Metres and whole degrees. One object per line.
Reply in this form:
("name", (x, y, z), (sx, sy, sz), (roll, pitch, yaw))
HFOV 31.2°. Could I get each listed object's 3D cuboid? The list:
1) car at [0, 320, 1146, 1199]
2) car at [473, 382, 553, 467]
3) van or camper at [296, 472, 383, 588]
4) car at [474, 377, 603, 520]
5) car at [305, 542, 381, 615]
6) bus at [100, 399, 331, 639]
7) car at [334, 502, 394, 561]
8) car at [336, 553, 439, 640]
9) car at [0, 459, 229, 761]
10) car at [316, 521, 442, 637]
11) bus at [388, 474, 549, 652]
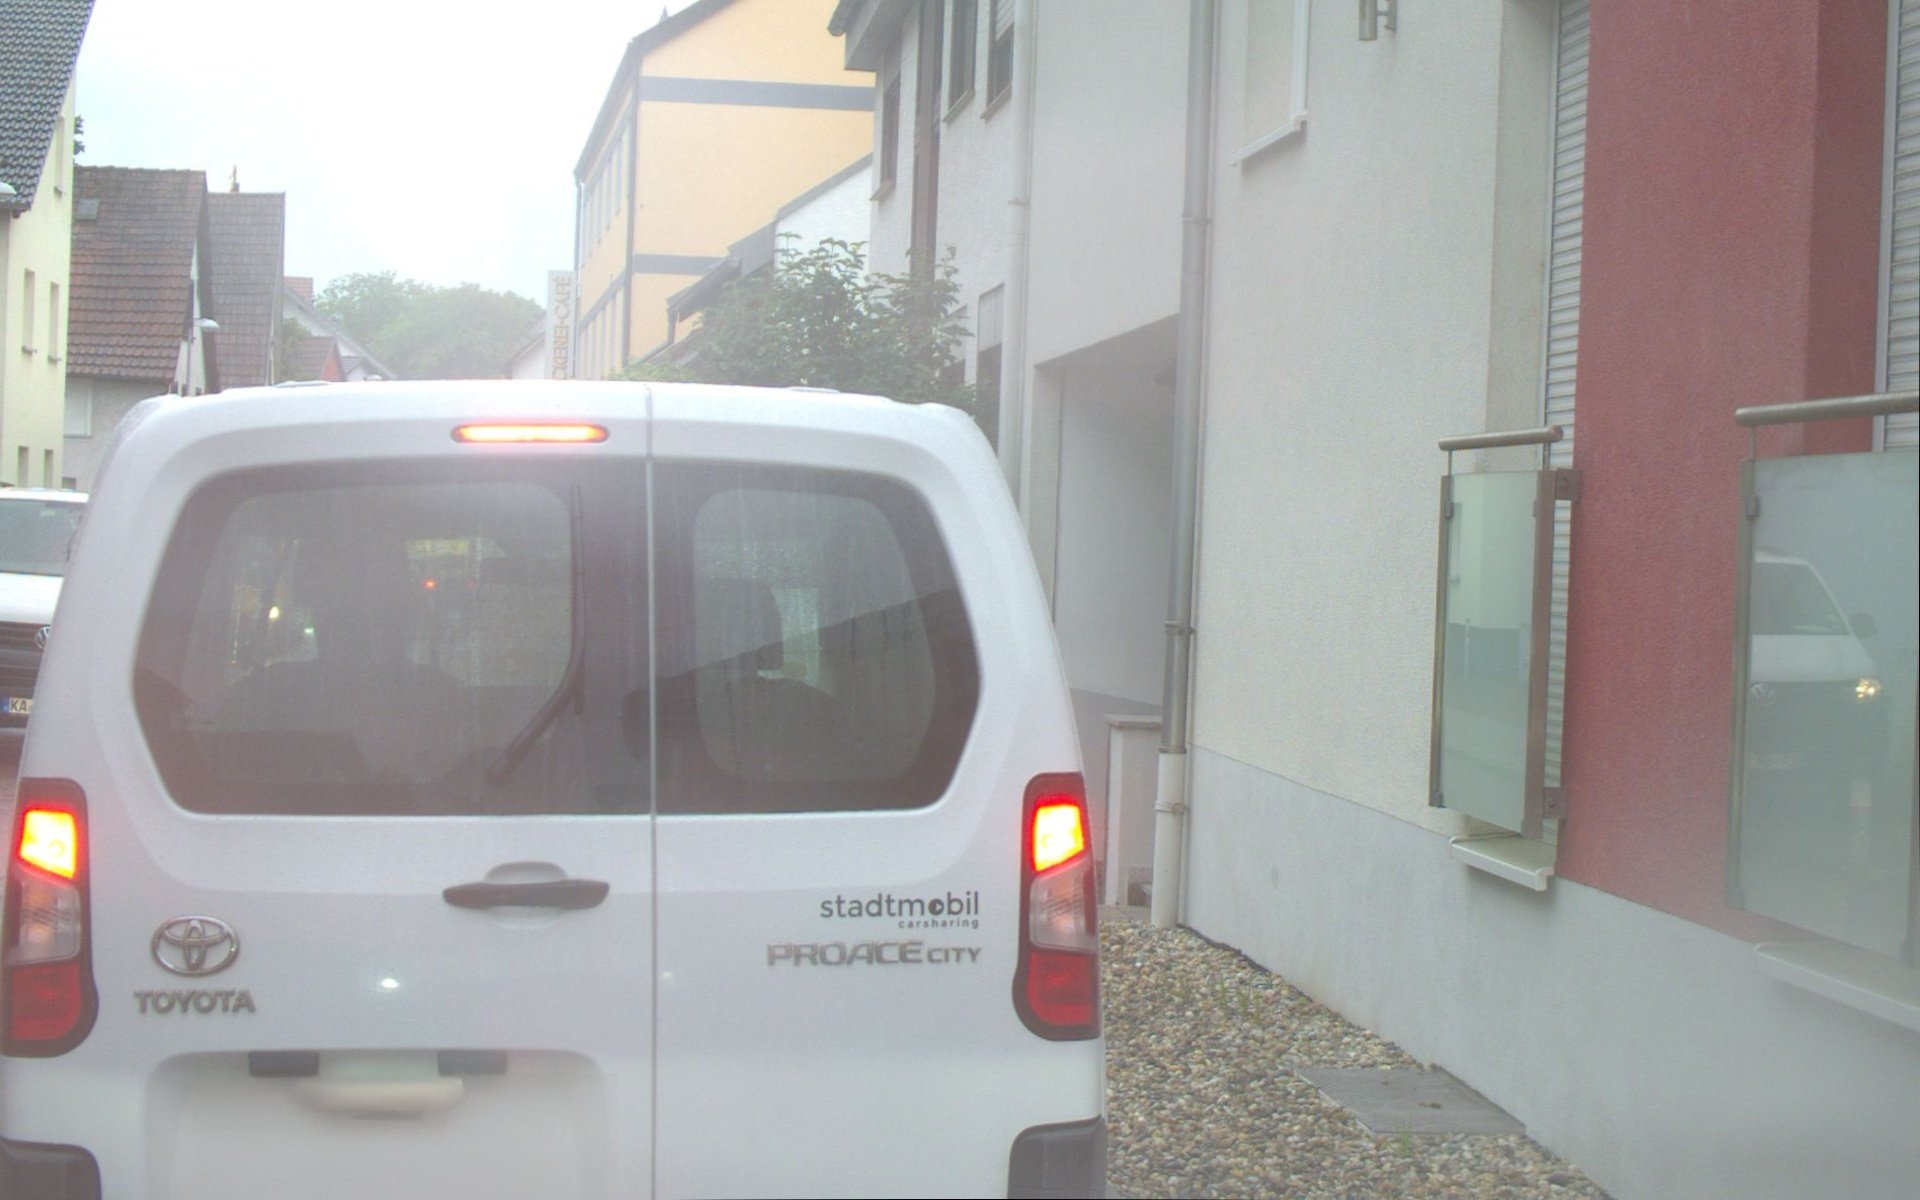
("car", (-0.923, 0.503, 6.986), (1.794, 1.812, 4.102), (1, 0, -8))
("car", (-12.089, -4.723, 93.115), (1.993, 2.007, 4.001), (3, 0, -7))
("van or camper", (-16.660, -1.842, 92.489), (1.835, 2.915, 5.364), (3, 0, -7))
("car", (-6.690, -2.350, 54.297), (1.826, 2.007, 3.695), (3, 0, -8))
("car", (-15.600, -0.531, 87.058), (1.578, 1.718, 3.551), (3, 0, -7))
("bus", (-11.649, -1.207, 54.460), (2.792, 3.317, 8.180), (4, 0, -8))
("car", (-18.843, -2.159, 108.817), (1.578, 1.718, 3.551), (3, 0, -7))
("car", (-9.870, -0.064, 59.403), (1.561, 1.367, 3.586), (3, 0, -8))
("car", (-6.569, 0.036, 25.405), (1.892, 1.960, 4.724), (3, 0, -8))
("car", (-8.126, -0.294, 48.295), (1.561, 1.475, 3.586), (3, 0, -8))
("bus", (-9.846, -0.713, 68.779), (2.792, 3.169, 8.180), (4, 0, -8))
